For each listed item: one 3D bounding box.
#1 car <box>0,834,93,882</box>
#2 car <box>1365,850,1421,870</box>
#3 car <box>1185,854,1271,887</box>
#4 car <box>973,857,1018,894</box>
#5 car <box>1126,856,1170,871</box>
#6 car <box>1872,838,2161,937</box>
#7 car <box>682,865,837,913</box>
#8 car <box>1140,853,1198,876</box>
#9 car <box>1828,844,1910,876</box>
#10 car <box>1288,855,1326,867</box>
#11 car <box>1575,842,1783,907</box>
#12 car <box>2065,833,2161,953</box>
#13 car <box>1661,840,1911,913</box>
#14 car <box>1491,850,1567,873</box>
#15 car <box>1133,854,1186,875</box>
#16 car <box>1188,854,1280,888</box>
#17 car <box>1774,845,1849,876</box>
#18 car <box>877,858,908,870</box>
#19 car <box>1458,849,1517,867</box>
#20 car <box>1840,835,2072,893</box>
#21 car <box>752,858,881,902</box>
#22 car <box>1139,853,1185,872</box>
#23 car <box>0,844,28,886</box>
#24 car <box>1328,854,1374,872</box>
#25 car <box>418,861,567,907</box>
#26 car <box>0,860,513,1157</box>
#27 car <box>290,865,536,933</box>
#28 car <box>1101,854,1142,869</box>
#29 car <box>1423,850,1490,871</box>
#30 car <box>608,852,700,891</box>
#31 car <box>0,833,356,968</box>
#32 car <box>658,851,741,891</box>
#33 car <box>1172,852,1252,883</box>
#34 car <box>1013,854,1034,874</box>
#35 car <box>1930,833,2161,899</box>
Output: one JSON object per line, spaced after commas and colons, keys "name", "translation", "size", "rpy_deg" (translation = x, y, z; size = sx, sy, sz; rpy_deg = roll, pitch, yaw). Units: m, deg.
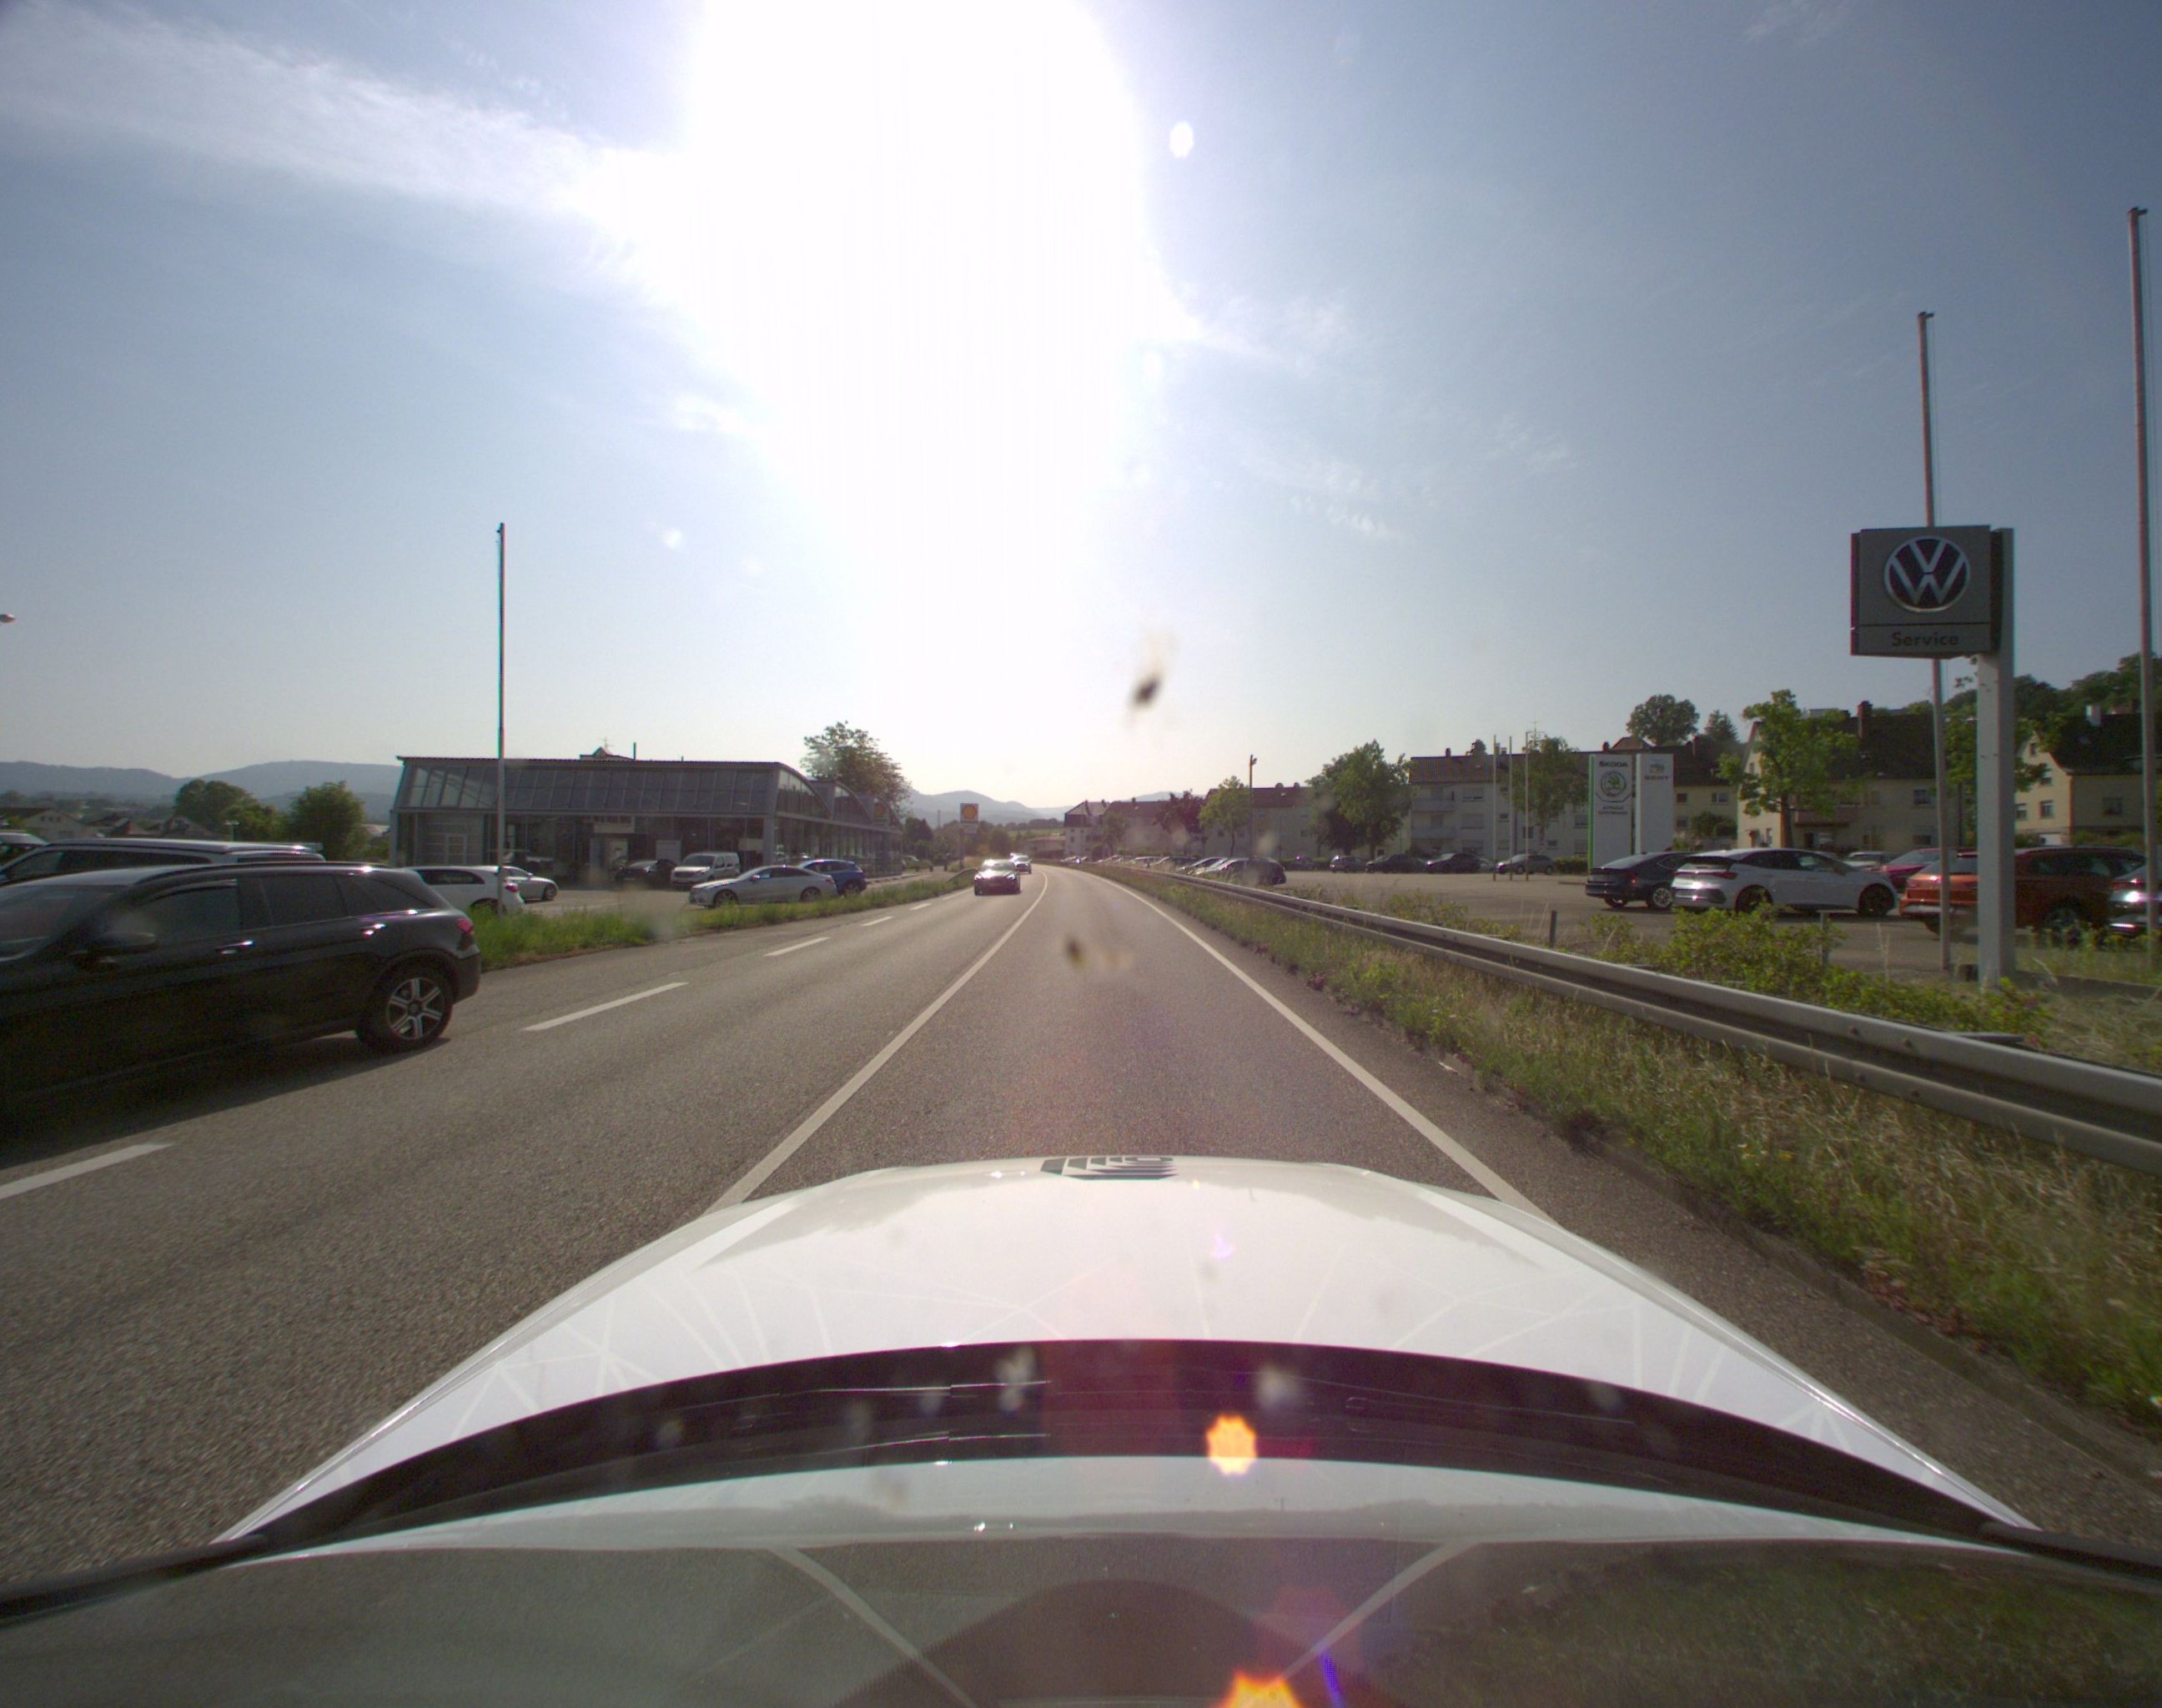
{"name": "car", "translation": [-47.285, 0.160, 35.830], "size": [4.800, 2.022, 2.211], "rpy_deg": [0, 1, 0]}
{"name": "car", "translation": [25.842, 0.507, 67.440], "size": [4.507, 1.600, 1.825], "rpy_deg": [-1, -1, -27]}
{"name": "car", "translation": [7.689, 0.834, 42.832], "size": [4.149, 1.556, 1.770], "rpy_deg": [-2, -1, -2]}
{"name": "car", "translation": [-3.694, 0.915, 35.893], "size": [1.748, 1.474, 4.281], "rpy_deg": [-2, 0, -4]}
{"name": "car", "translation": [6.887, 0.968, 84.036], "size": [4.314, 1.444, 1.625], "rpy_deg": [-1, -1, -6]}
{"name": "car", "translation": [15.477, 0.492, 12.984], "size": [3.974, 1.446, 1.824], "rpy_deg": [-1, -1, 0]}
{"name": "car", "translation": [-10.609, 1.088, 27.060], "size": [4.418, 1.367, 1.831], "rpy_deg": [-1, 0, -41]}
{"name": "car", "translation": [6.434, 0.752, 59.963], "size": [3.978, 1.640, 1.885], "rpy_deg": [-1, -1, -4]}
{"name": "car", "translation": [42.379, 0.334, 43.790], "size": [4.765, 1.588, 1.913], "rpy_deg": [-1, -1, -30]}
{"name": "car", "translation": [22.554, 0.700, 81.383], "size": [1.598, 1.186, 3.629], "rpy_deg": [0, -1, -28]}
{"name": "car", "translation": [15.458, 0.512, 21.180], "size": [4.147, 1.516, 1.822], "rpy_deg": [-1, -1, -4]}
{"name": "car", "translation": [15.388, 0.453, 10.164], "size": [3.974, 1.486, 1.842], "rpy_deg": [-1, -1, 0]}
{"name": "car", "translation": [15.824, 0.491, 18.443], "size": [4.079, 1.516, 1.824], "rpy_deg": [-1, -1, 0]}
{"name": "car", "translation": [31.594, 0.520, 57.447], "size": [4.760, 1.521, 1.984], "rpy_deg": [-1, -1, -20]}
{"name": "car", "translation": [6.303, 0.857, 65.930], "size": [3.984, 1.580, 1.773], "rpy_deg": [-1, -1, -8]}
{"name": "car", "translation": [7.448, 0.834, 39.965], "size": [4.149, 1.490, 1.730], "rpy_deg": [-2, -1, -2]}
{"name": "car", "translation": [41.148, 0.366, 45.849], "size": [4.769, 1.588, 1.912], "rpy_deg": [-1, -1, -33]}
{"name": "car", "translation": [-24.438, 1.346, 105.911], "size": [3.745, 1.499, 1.927], "rpy_deg": [0, -1, -8]}
{"name": "car", "translation": [33.110, 0.335, 66.433], "size": [1.791, 1.475, 3.953], "rpy_deg": [0, -1, -27]}
{"name": "car", "translation": [25.956, 0.297, 24.303], "size": [4.717, 1.565, 1.933], "rpy_deg": [-2, -1, 2]}
{"name": "car", "translation": [-10.099, 0.925, 31.252], "size": [4.254, 1.507, 1.962], "rpy_deg": [-1, 0, -41]}
{"name": "car", "translation": [7.162, 0.740, 72.003], "size": [3.838, 1.568, 1.805], "rpy_deg": [-1, -1, -4]}
{"name": "car", "translation": [-42.431, 0.425, 29.922], "size": [4.794, 1.566, 2.214], "rpy_deg": [0, 1, 3]}
{"name": "car", "translation": [23.343, 0.779, 70.421], "size": [3.777, 1.521, 1.641], "rpy_deg": [-1, 0, -30]}
{"name": "car", "translation": [-20.773, 0.991, 29.064], "size": [1.799, 1.386, 4.831], "rpy_deg": [0, 1, 0]}
{"name": "car", "translation": [-6.832, 0.911, 5.874], "size": [1.801, 1.630, 4.551], "rpy_deg": [-2, 0, 8]}
{"name": "car", "translation": [-15.434, 0.964, 19.049], "size": [4.252, 1.403, 1.875], "rpy_deg": [1, -1, -41]}
{"name": "car", "translation": [4.482, 0.837, 89.624], "size": [4.310, 1.640, 2.137], "rpy_deg": [-1, -1, -4]}
{"name": "car", "translation": [28.697, 0.489, 62.261], "size": [4.635, 1.521, 1.852], "rpy_deg": [-1, -1, -20]}
{"name": "car", "translation": [-20.308, 0.778, 39.000], "size": [1.799, 1.713, 4.938], "rpy_deg": [0, 1, 0]}
{"name": "car", "translation": [-15.648, 0.702, 13.690], "size": [4.777, 1.981, 2.228], "rpy_deg": [2, 0, -1]}
{"name": "car", "translation": [-18.022, 0.762, 38.742], "size": [1.799, 1.713, 4.409], "rpy_deg": [0, 1, 1]}
{"name": "car", "translation": [7.314, 0.760, 45.831], "size": [4.149, 1.545, 1.739], "rpy_deg": [-2, -1, -2]}
{"name": "car", "translation": [-5.106, 0.855, 72.666], "size": [1.788, 1.630, 4.222], "rpy_deg": [-2, 0, -3]}
{"name": "car", "translation": [25.828, 0.288, 21.493], "size": [4.717, 1.565, 1.933], "rpy_deg": [-2, -1, 2]}
